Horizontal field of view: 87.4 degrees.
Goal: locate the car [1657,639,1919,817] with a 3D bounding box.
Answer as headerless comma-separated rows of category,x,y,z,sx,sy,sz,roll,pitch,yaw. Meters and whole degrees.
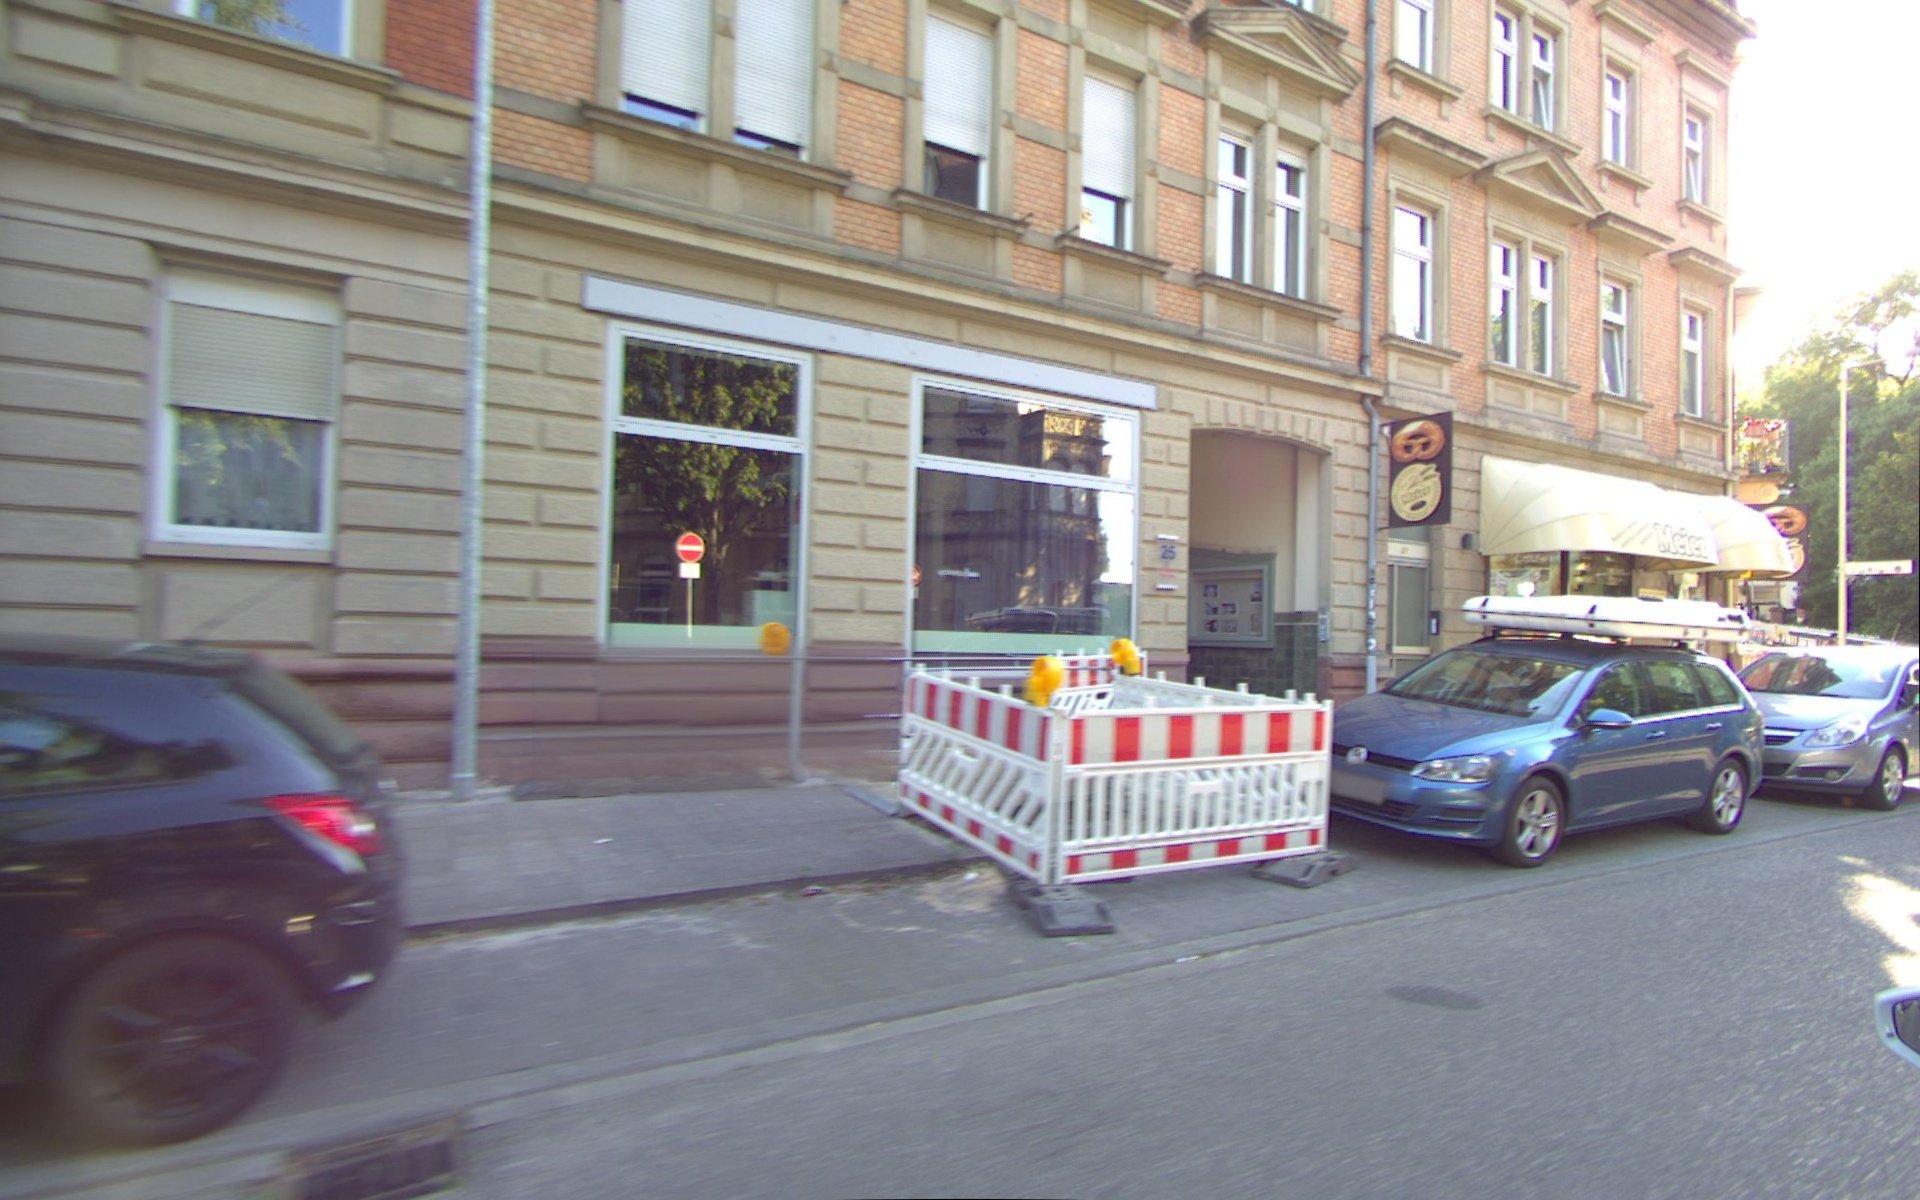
car,9.239,1.190,10.436,3.948,1.456,1.717,2,0,-29

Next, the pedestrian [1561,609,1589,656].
pedestrian,26.908,1.407,43.970,0.925,2.040,0.958,0,-1,27

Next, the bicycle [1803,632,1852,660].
bicycle,31.811,1.666,36.868,0.790,0.981,2.107,1,-1,25

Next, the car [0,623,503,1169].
car,-3.672,0.800,3.063,3.974,1.473,1.695,2,-2,-31

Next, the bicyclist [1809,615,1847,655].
bicyclist,31.795,1.267,36.789,0.790,1.402,0.984,1,-1,25

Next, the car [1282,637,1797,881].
car,4.702,1.053,7.992,4.252,1.456,1.756,2,-2,-31

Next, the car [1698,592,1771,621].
car,58.550,0.482,75.990,4.315,2.040,1.926,1,-1,39
